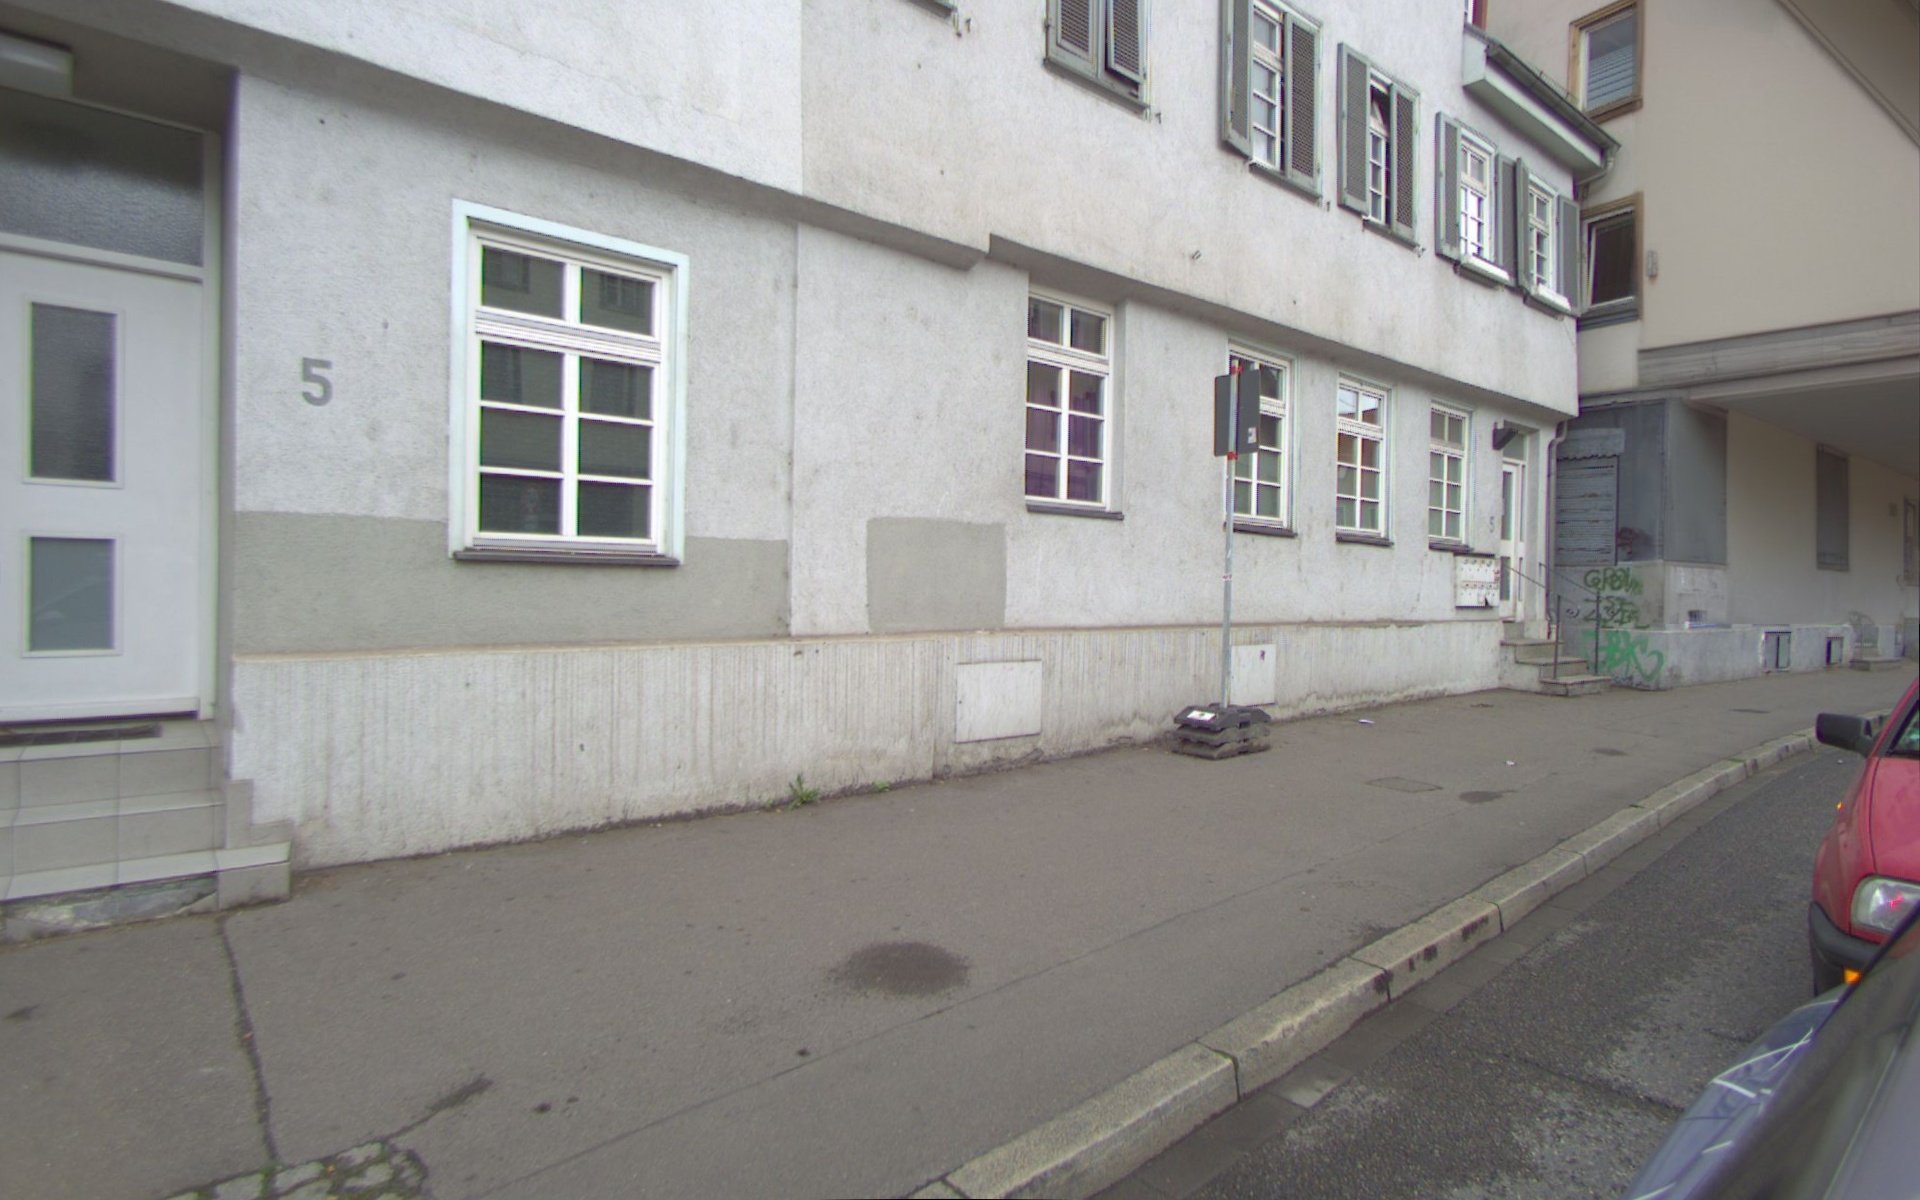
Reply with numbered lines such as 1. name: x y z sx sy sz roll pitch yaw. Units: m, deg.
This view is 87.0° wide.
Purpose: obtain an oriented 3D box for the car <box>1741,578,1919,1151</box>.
1. car: 4.346 0.661 3.456 3.928 1.443 1.792 -2 2 -39
